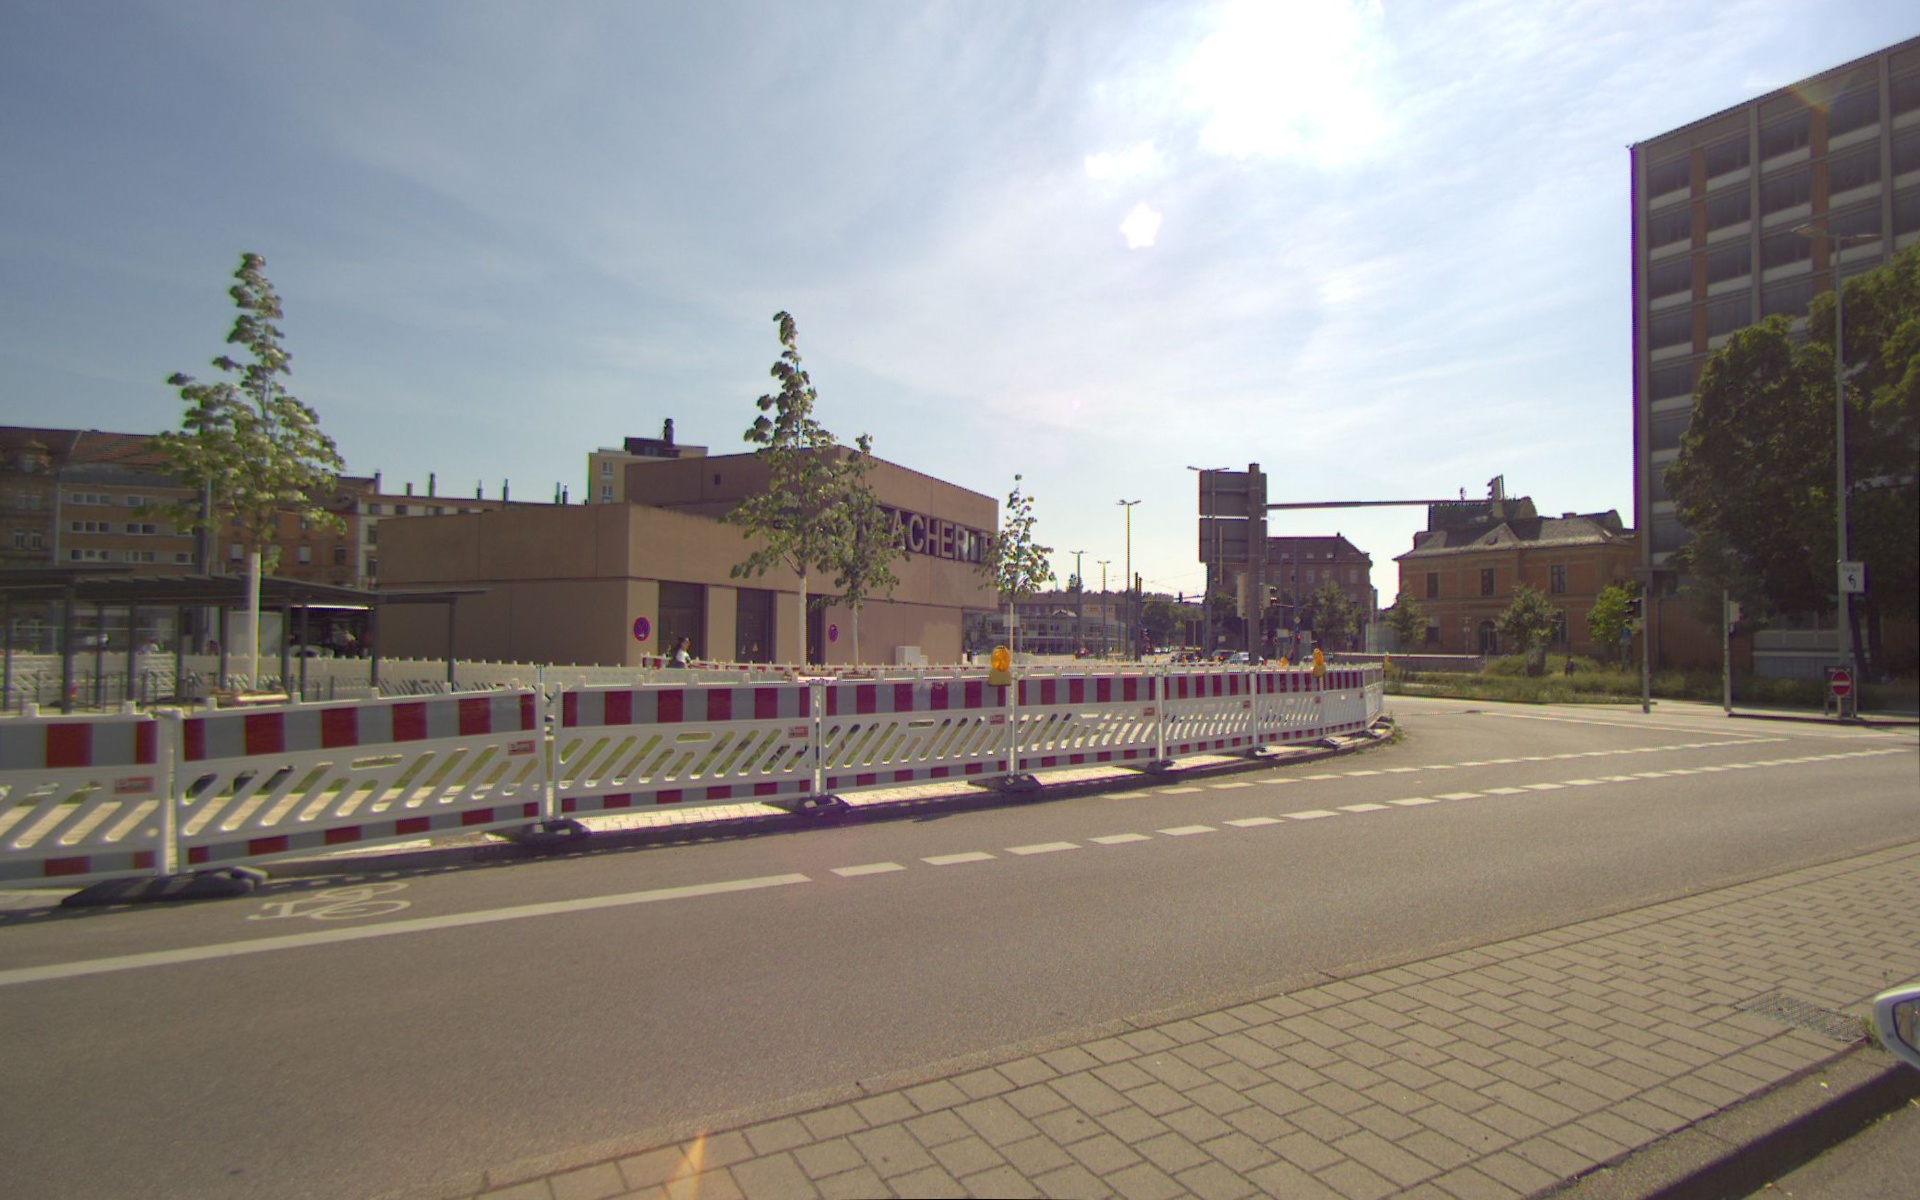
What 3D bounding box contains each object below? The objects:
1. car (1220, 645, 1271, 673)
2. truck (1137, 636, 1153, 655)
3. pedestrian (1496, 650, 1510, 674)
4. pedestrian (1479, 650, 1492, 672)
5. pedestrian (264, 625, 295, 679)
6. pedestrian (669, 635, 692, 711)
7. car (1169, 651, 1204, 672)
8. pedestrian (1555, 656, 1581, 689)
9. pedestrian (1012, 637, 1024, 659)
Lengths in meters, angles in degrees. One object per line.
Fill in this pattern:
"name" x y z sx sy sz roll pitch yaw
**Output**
"car" 19.467 4.030 68.719 1.963 1.839 3.996 1 -3 -7
"truck" 36.795 9.109 200.348 3.011 3.779 7.937 1 -3 10
"pedestrian" 39.382 4.458 72.841 0.637 1.683 0.650 2 0 -3
"pedestrian" 40.495 4.699 77.441 0.641 1.683 0.647 2 -3 -22
"pedestrian" -25.643 1.957 37.835 0.571 2.040 0.731 -1 -3 24
"pedestrian" -5.927 1.549 21.344 0.416 1.585 0.557 1 -2 -13
"car" 17.181 4.625 76.240 1.764 1.530 4.002 1 -3 1
"pedestrian" 32.905 3.892 54.357 0.857 1.748 0.799 1 -2 -7
"pedestrian" 4.544 3.772 78.360 0.645 1.683 0.655 3 -3 -42
